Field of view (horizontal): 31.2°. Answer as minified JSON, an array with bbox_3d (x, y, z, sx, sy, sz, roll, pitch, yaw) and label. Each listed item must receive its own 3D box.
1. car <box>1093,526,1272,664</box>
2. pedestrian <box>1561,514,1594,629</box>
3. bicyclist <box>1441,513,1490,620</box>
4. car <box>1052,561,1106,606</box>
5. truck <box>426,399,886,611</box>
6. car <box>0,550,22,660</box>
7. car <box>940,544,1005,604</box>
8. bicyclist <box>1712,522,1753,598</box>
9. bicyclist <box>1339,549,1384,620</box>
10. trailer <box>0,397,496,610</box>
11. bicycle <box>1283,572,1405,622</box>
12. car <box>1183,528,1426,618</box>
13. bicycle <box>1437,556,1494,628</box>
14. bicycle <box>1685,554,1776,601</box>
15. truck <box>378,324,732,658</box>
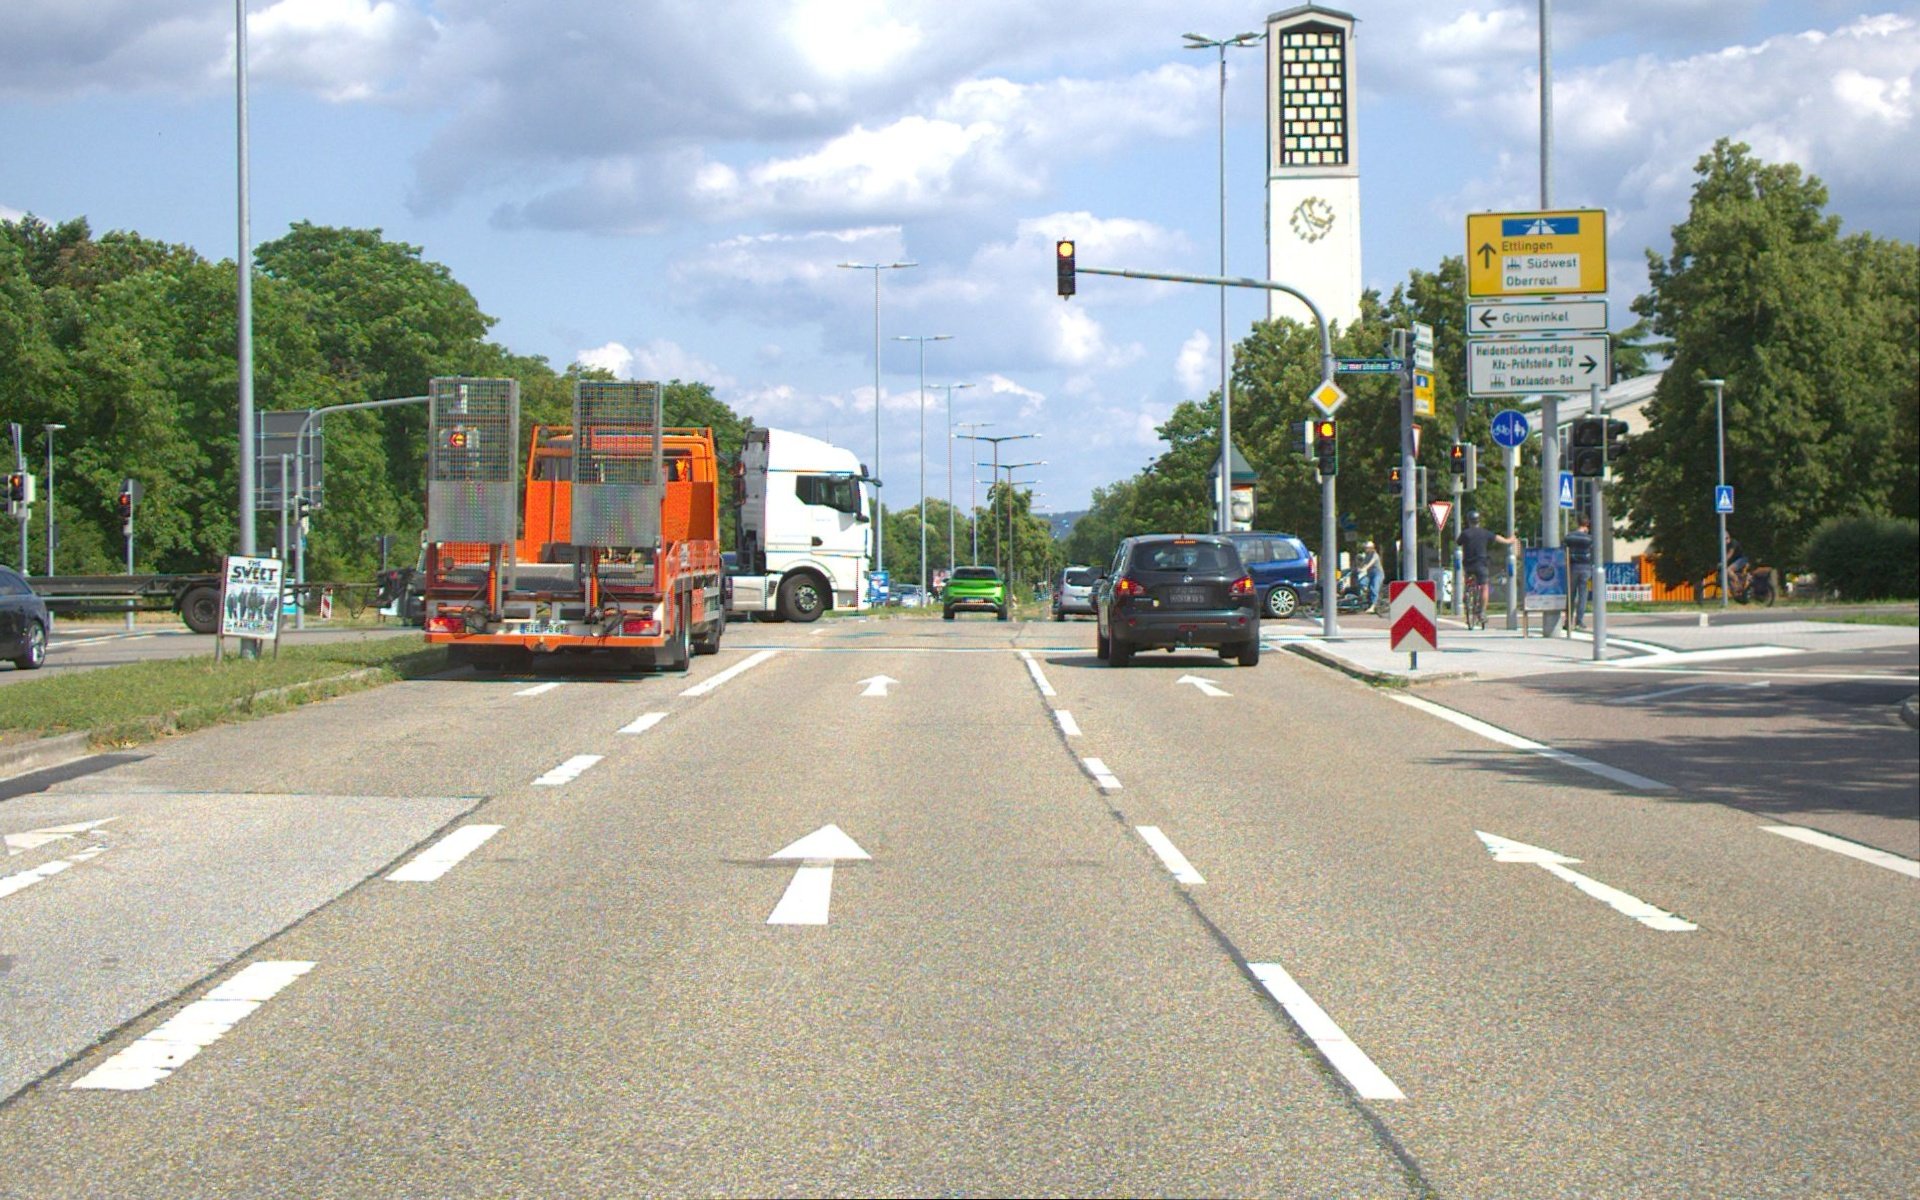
[{"bbox_3d":[2.658,-0.059,41.843,1.799,1.547,4.000,1,0,-1],"label":"car"},{"bbox_3d":[9.662,-0.442,53.783,0.465,1.773,0.482,1,0,10],"label":"pedestrian"},{"bbox_3d":[7.954,-0.526,54.105,0.648,1.656,0.650,1,0,15],"label":"bicyclist"},{"bbox_3d":[4.231,-0.574,122.734,1.658,1.550,4.000,1,0,-1],"label":"car"},{"bbox_3d":[-6.039,-1.819,68.183,8.607,3.957,2.970,1,0,-17],"label":"truck"},{"bbox_3d":[-13.318,0.090,43.364,1.771,1.433,4.576,-1,0,-1],"label":"car"},{"bbox_3d":[0.342,-0.739,98.923,1.740,1.664,3.590,1,0,-1],"label":"car"},{"bbox_3d":[18.368,-0.948,81.754,0.788,1.798,0.685,0,0,27],"label":"bicyclist"},{"bbox_3d":[9.175,-0.357,78.573,0.698,1.610,0.797,0,1,-30],"label":"bicyclist"},{"bbox_3d":[-14.936,-1.842,66.636,11.282,3.998,3.632,0,1,3],"label":"trailer"},{"bbox_3d":[8.757,-0.073,78.341,2.833,1.108,0.797,0,1,-30],"label":"bicycle"},{"bbox_3d":[6.501,-0.506,65.090,4.198,1.568,1.856,2,0,-9],"label":"car"},{"bbox_3d":[7.992,-0.115,54.293,0.648,1.104,1.927,1,0,15],"label":"bicycle"},{"bbox_3d":[18.324,-0.532,81.787,2.000,1.090,0.685,0,0,27],"label":"bicycle"},{"bbox_3d":[-4.585,-1.136,41.362,3.070,3.402,11.068,1,0,-1],"label":"truck"}]
